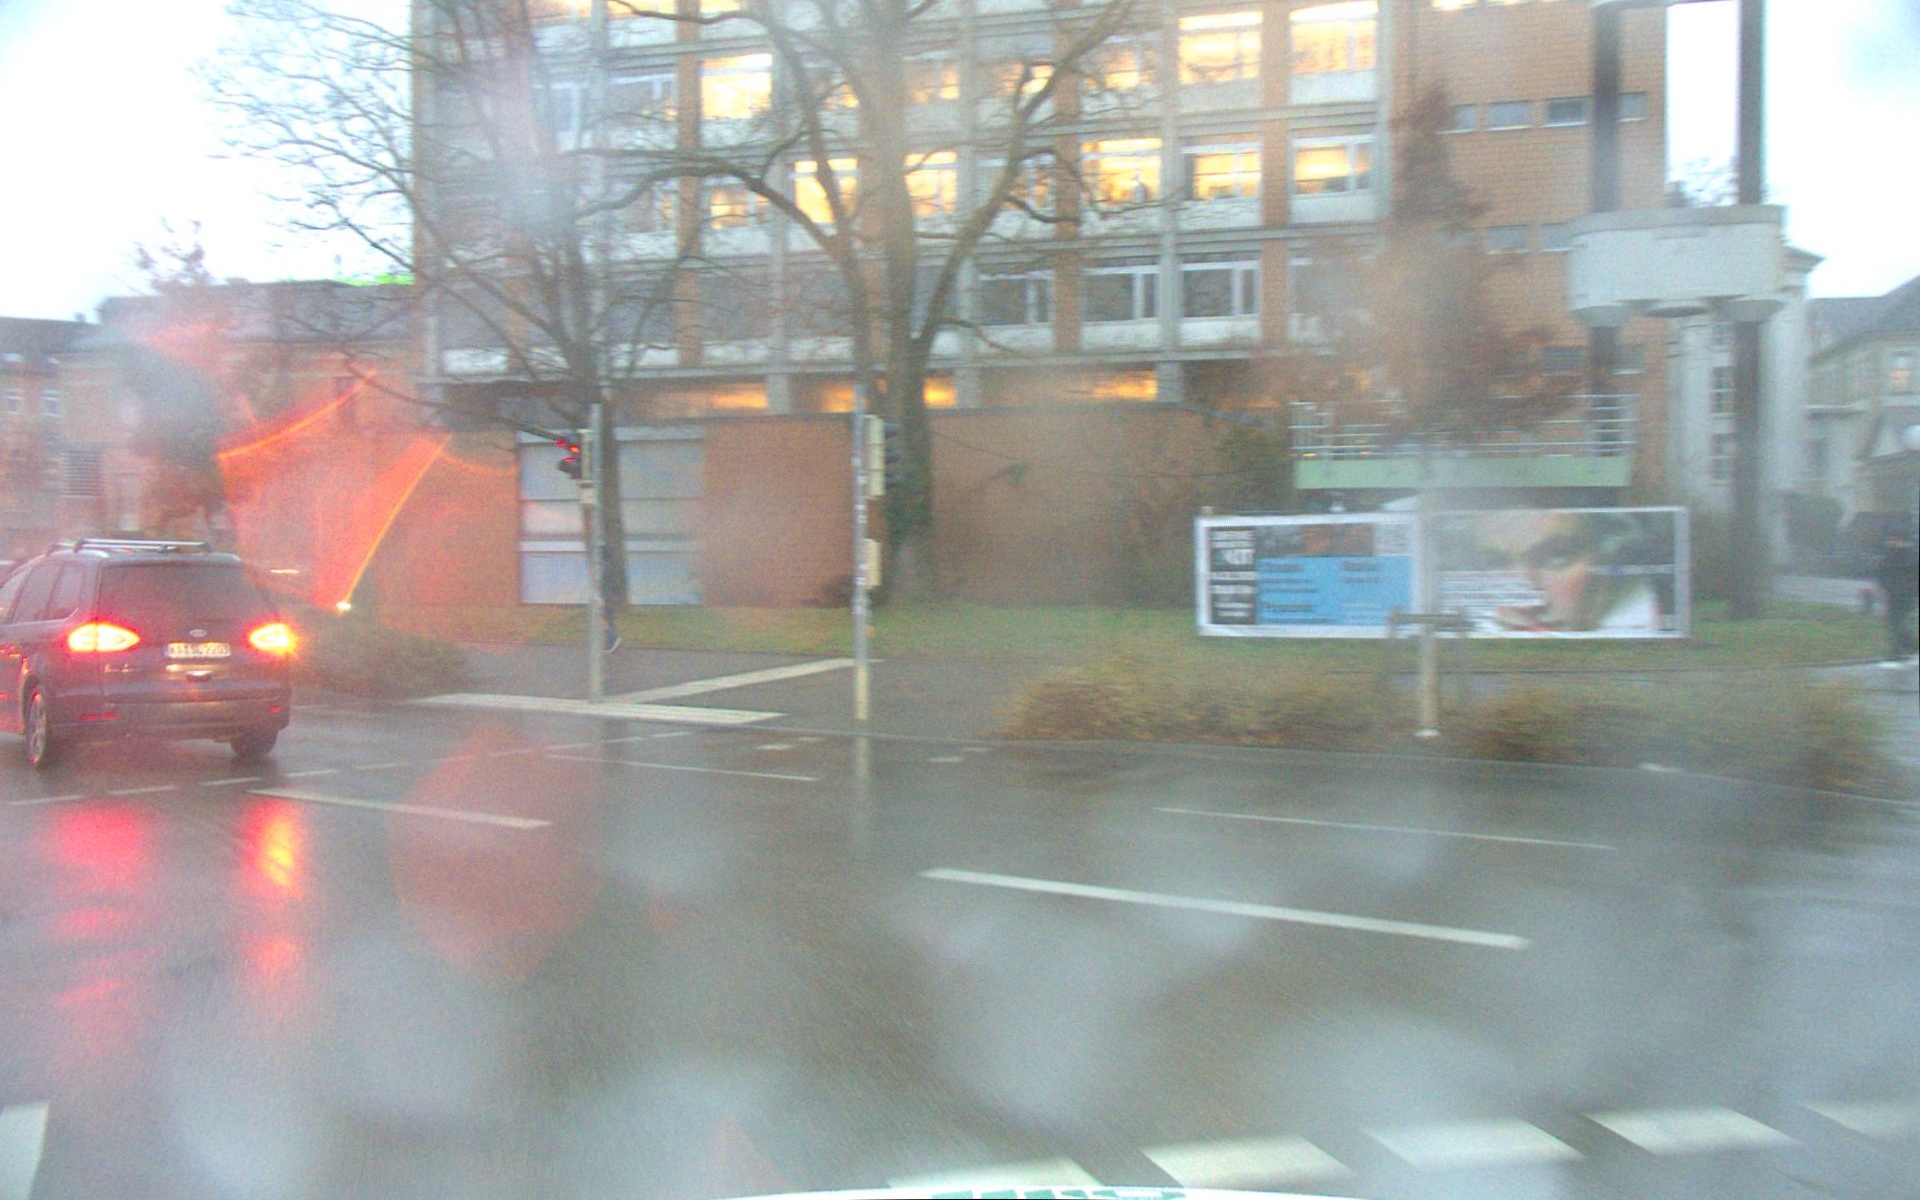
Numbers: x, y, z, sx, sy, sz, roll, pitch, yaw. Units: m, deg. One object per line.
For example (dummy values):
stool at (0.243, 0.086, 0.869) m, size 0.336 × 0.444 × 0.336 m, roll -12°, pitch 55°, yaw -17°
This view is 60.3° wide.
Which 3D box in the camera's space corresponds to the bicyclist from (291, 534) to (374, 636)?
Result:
bicyclist at (-10.635, -0.275, 28.017) m, size 1.065 × 1.645 × 0.803 m, roll 1°, pitch 5°, yaw 38°

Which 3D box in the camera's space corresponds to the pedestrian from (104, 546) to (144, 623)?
pedestrian at (-18.987, -0.361, 37.584) m, size 0.708 × 1.717 × 0.755 m, roll -1°, pitch 2°, yaw -22°

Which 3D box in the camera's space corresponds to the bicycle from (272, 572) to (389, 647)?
bicycle at (-10.707, 0.138, 28.101) m, size 2.171 × 1.161 × 0.803 m, roll 1°, pitch 5°, yaw 38°

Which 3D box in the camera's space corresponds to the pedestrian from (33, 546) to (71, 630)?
pedestrian at (-20.145, -0.280, 36.708) m, size 0.575 × 1.812 × 0.764 m, roll -3°, pitch 2°, yaw -21°

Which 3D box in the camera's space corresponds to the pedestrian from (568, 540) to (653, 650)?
pedestrian at (-5.666, -0.091, 26.809) m, size 1.049 × 1.716 × 0.807 m, roll 0°, pitch 3°, yaw 37°

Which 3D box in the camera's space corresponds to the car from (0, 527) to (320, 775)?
car at (-7.166, 0.323, 14.502) m, size 1.765 × 1.831 × 4.365 m, roll 0°, pitch 1°, yaw -37°

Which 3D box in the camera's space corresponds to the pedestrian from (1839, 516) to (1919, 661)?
pedestrian at (11.590, -0.162, 20.402) m, size 0.907 × 1.716 × 0.911 m, roll 0°, pitch 4°, yaw -8°

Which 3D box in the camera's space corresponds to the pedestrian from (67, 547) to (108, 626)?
pedestrian at (-19.508, -0.309, 36.990) m, size 0.658 × 1.716 × 0.608 m, roll -3°, pitch 4°, yaw -22°
